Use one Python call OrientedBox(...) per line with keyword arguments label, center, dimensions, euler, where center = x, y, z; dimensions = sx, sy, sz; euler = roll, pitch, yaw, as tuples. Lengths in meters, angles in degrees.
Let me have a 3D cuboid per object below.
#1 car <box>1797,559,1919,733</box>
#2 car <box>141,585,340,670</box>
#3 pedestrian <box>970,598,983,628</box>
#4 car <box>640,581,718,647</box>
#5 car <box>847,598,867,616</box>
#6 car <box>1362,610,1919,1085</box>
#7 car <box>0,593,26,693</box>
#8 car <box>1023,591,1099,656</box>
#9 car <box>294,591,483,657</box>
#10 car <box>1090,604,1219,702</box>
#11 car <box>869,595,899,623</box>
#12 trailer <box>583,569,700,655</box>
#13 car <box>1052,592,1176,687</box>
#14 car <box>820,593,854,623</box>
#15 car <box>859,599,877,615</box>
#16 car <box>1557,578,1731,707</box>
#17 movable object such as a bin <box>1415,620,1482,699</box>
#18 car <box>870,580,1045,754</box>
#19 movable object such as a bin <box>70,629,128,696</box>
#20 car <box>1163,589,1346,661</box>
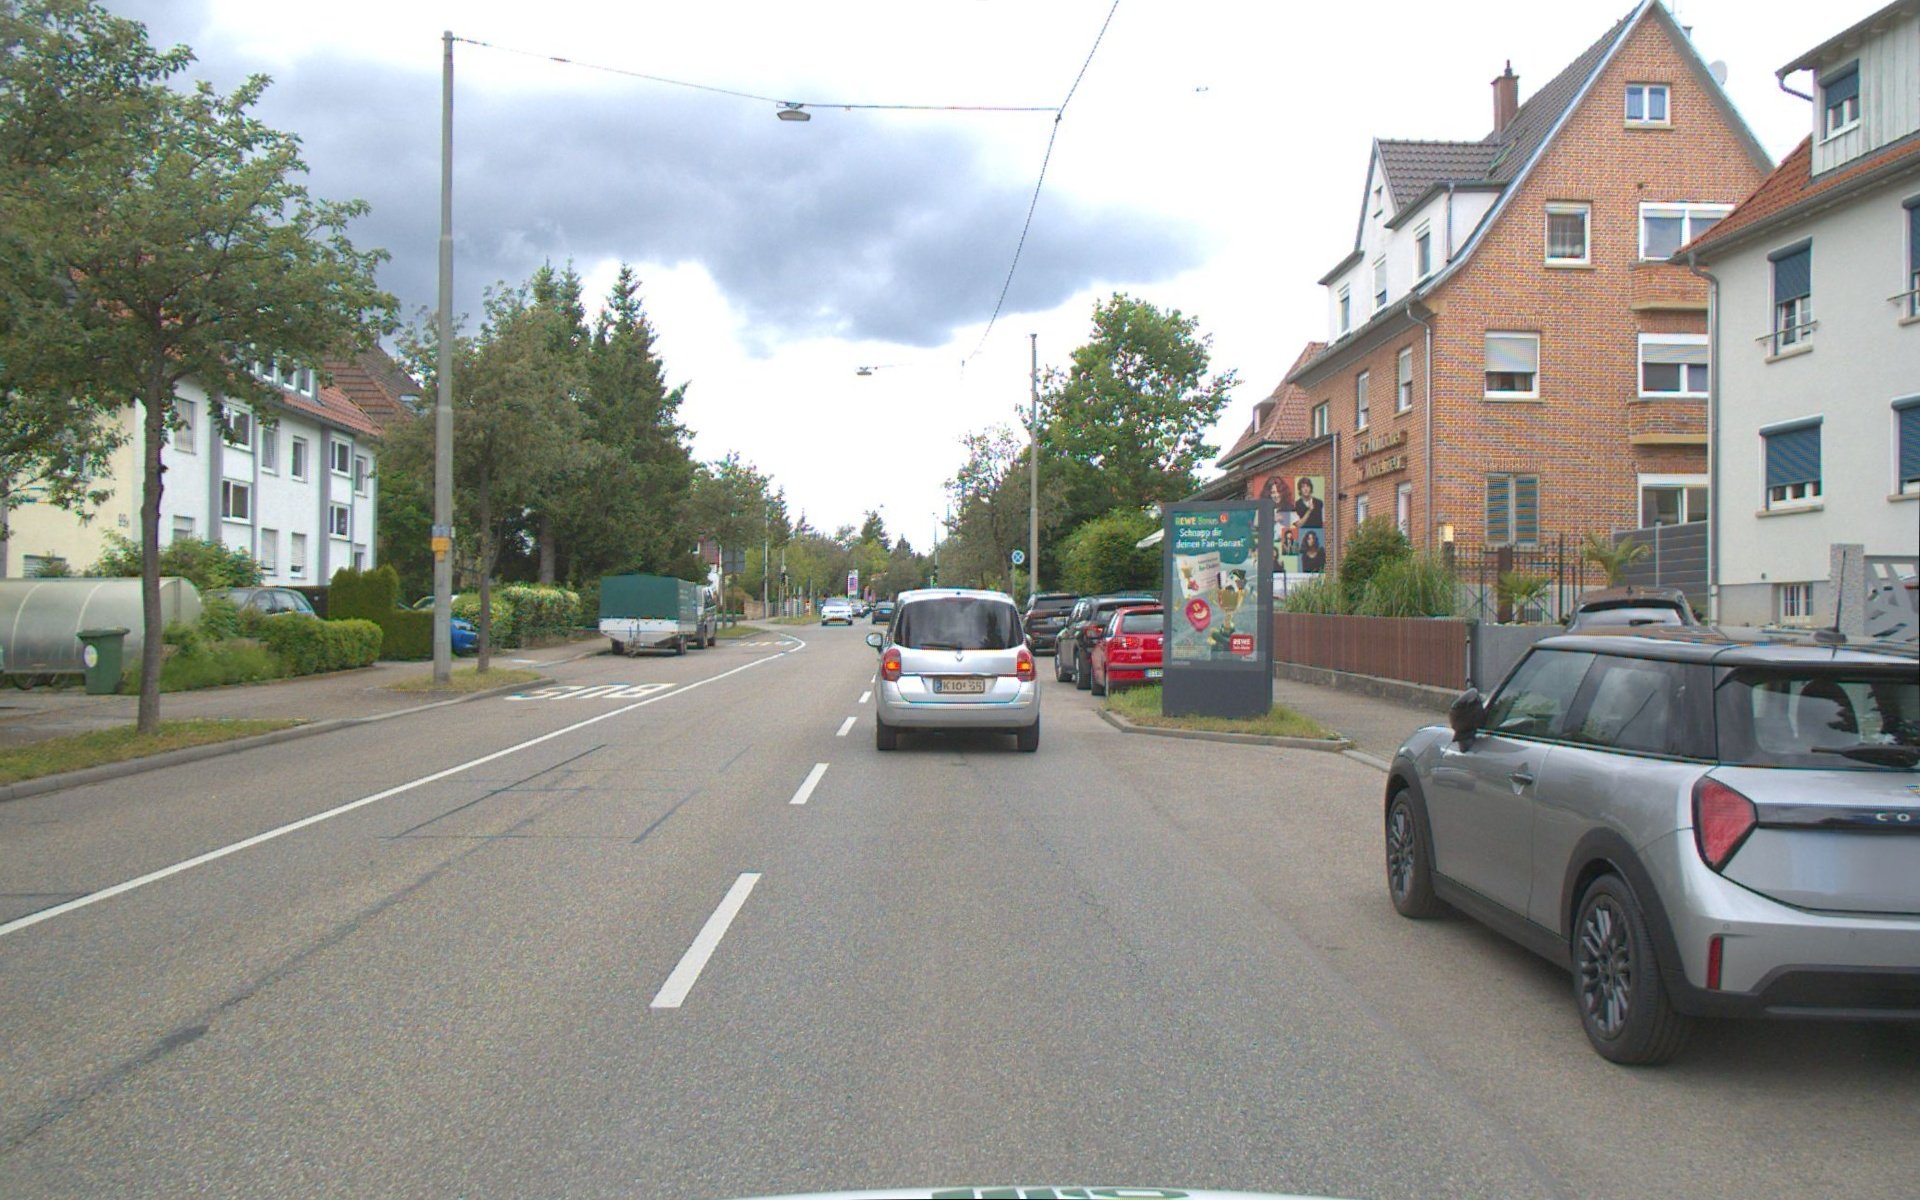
OrientedBox(label="car", center=(10.425, 0.350, 15.694), dimensions=(4.181, 1.532, 1.691), euler=(-2, -2, -9))
OrientedBox(label="car", center=(-13.247, 0.519, 30.739), dimensions=(1.838, 1.442, 4.000), euler=(1, -1, 1))
OrientedBox(label="pedestrian", center=(0.960, 0.754, 95.039), dimensions=(0.691, 1.675, 0.773), euler=(0, -1, -2))
OrientedBox(label="car", center=(-8.959, 0.481, 53.046), dimensions=(1.850, 1.956, 4.558), euler=(2, -1, -3))
OrientedBox(label="car", center=(-9.163, 0.647, 146.487), dimensions=(1.688, 1.436, 3.996), euler=(2, -1, -5))
OrientedBox(label="car", center=(3.018, 0.799, 6.977), dimensions=(1.616, 1.407, 3.999), euler=(1, -1, -1))
OrientedBox(label="car", center=(-14.629, 0.575, 21.457), dimensions=(3.988, 1.309, 1.753), euler=(0, -1, -7))
OrientedBox(label="car", center=(2.839, 0.688, 47.103), dimensions=(1.776, 1.773, 3.998), euler=(0, -1, -2))
OrientedBox(label="car", center=(-13.254, 0.576, 38.557), dimensions=(3.916, 1.361, 1.573), euler=(2, -2, -12))
OrientedBox(label="car", center=(2.973, 0.776, 25.876), dimensions=(1.628, 1.417, 3.668), euler=(0, 0, 1))
OrientedBox(label="car", center=(-4.850, 0.579, 105.392), dimensions=(1.792, 1.705, 3.573), euler=(1, -1, -1))
OrientedBox(label="trailer", center=(-8.620, 0.370, 45.329), dimensions=(2.266, 2.123, 5.869), euler=(2, -1, -3))
OrientedBox(label="car", center=(2.748, 0.678, 30.246), dimensions=(1.629, 1.592, 4.095), euler=(1, 0, -4))
OrientedBox(label="car", center=(-7.372, 0.503, 98.787), dimensions=(1.869, 1.646, 3.994), euler=(2, -1, -6))
OrientedBox(label="car", center=(-9.058, 0.739, 162.828), dimensions=(1.688, 1.436, 3.996), euler=(2, -1, -5))
OrientedBox(label="car", center=(8.684, 0.486, 21.207), dimensions=(1.781, 1.405, 4.480), euler=(-4, -1, 21))
OrientedBox(label="movable object such as a bin", center=(7.091, 0.860, 24.032), dimensions=(0.760, 1.123, 0.691), euler=(0, 0, -2))
OrientedBox(label="car", center=(-0.045, 0.677, 17.589), dimensions=(1.597, 1.584, 3.999), euler=(2, -1, -1))
OrientedBox(label="movable object such as a bin", center=(-12.010, 0.866, 23.075), dimensions=(0.568, 0.917, 0.542), euler=(0, -1, 42))
OrientedBox(label="car", center=(7.045, 0.584, 39.677), dimensions=(3.914, 1.523, 1.806), euler=(-2, 0, -10))
